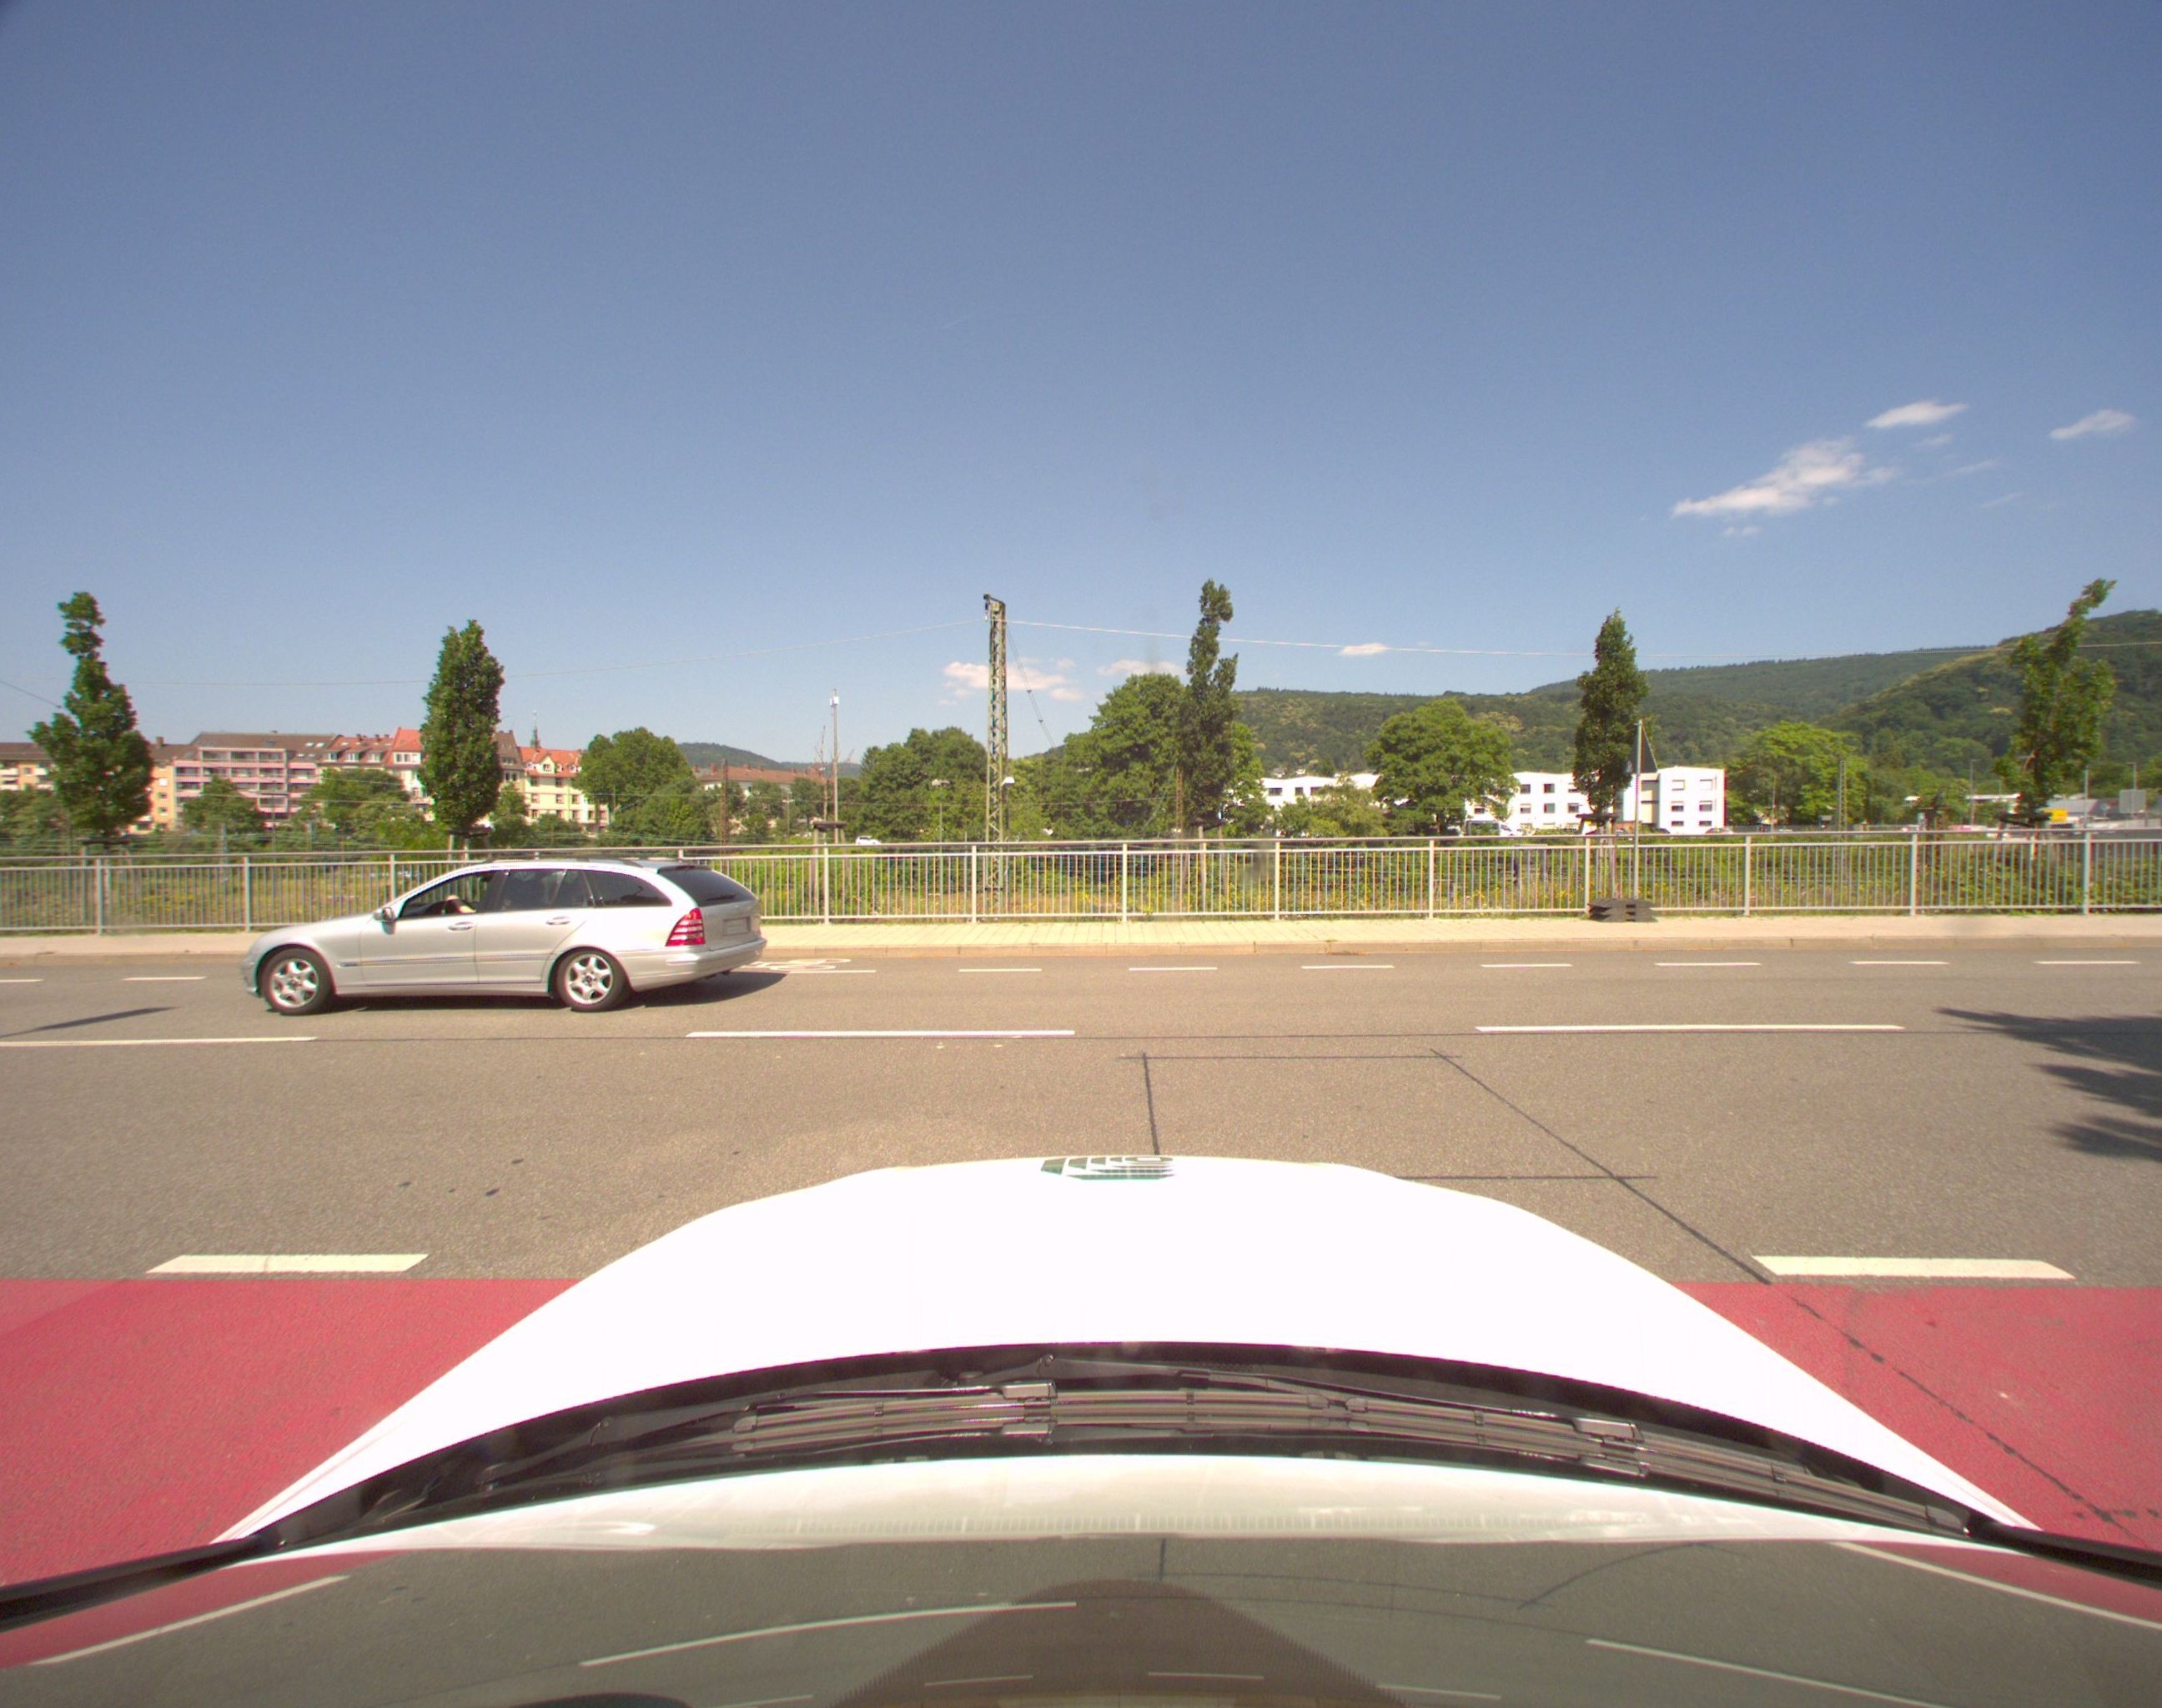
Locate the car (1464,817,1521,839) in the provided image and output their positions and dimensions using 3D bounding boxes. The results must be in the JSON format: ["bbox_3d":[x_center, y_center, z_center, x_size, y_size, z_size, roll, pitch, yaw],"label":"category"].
[{"bbox_3d":[47.592,-3.002,94.340,5.463,2.103,2.142,-2,-3,12],"label":"car"}]

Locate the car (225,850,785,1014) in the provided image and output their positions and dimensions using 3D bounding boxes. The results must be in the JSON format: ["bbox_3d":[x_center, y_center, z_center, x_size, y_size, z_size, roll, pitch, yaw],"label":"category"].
[{"bbox_3d":[-5.458,0.697,8.101,4.355,1.404,1.715,-1,0,2],"label":"car"}]

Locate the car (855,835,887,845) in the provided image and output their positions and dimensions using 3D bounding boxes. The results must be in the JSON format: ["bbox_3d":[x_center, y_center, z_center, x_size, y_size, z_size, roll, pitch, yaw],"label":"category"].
[{"bbox_3d":[-28.761,-1.882,111.495,4.261,1.366,1.878,0,2,31],"label":"car"}]

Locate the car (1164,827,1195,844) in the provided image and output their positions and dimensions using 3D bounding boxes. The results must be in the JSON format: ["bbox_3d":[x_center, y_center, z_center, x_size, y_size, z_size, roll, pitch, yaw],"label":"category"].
[{"bbox_3d":[13.482,-2.472,111.055,3.889,2.014,1.763,-2,-3,19],"label":"car"}]
